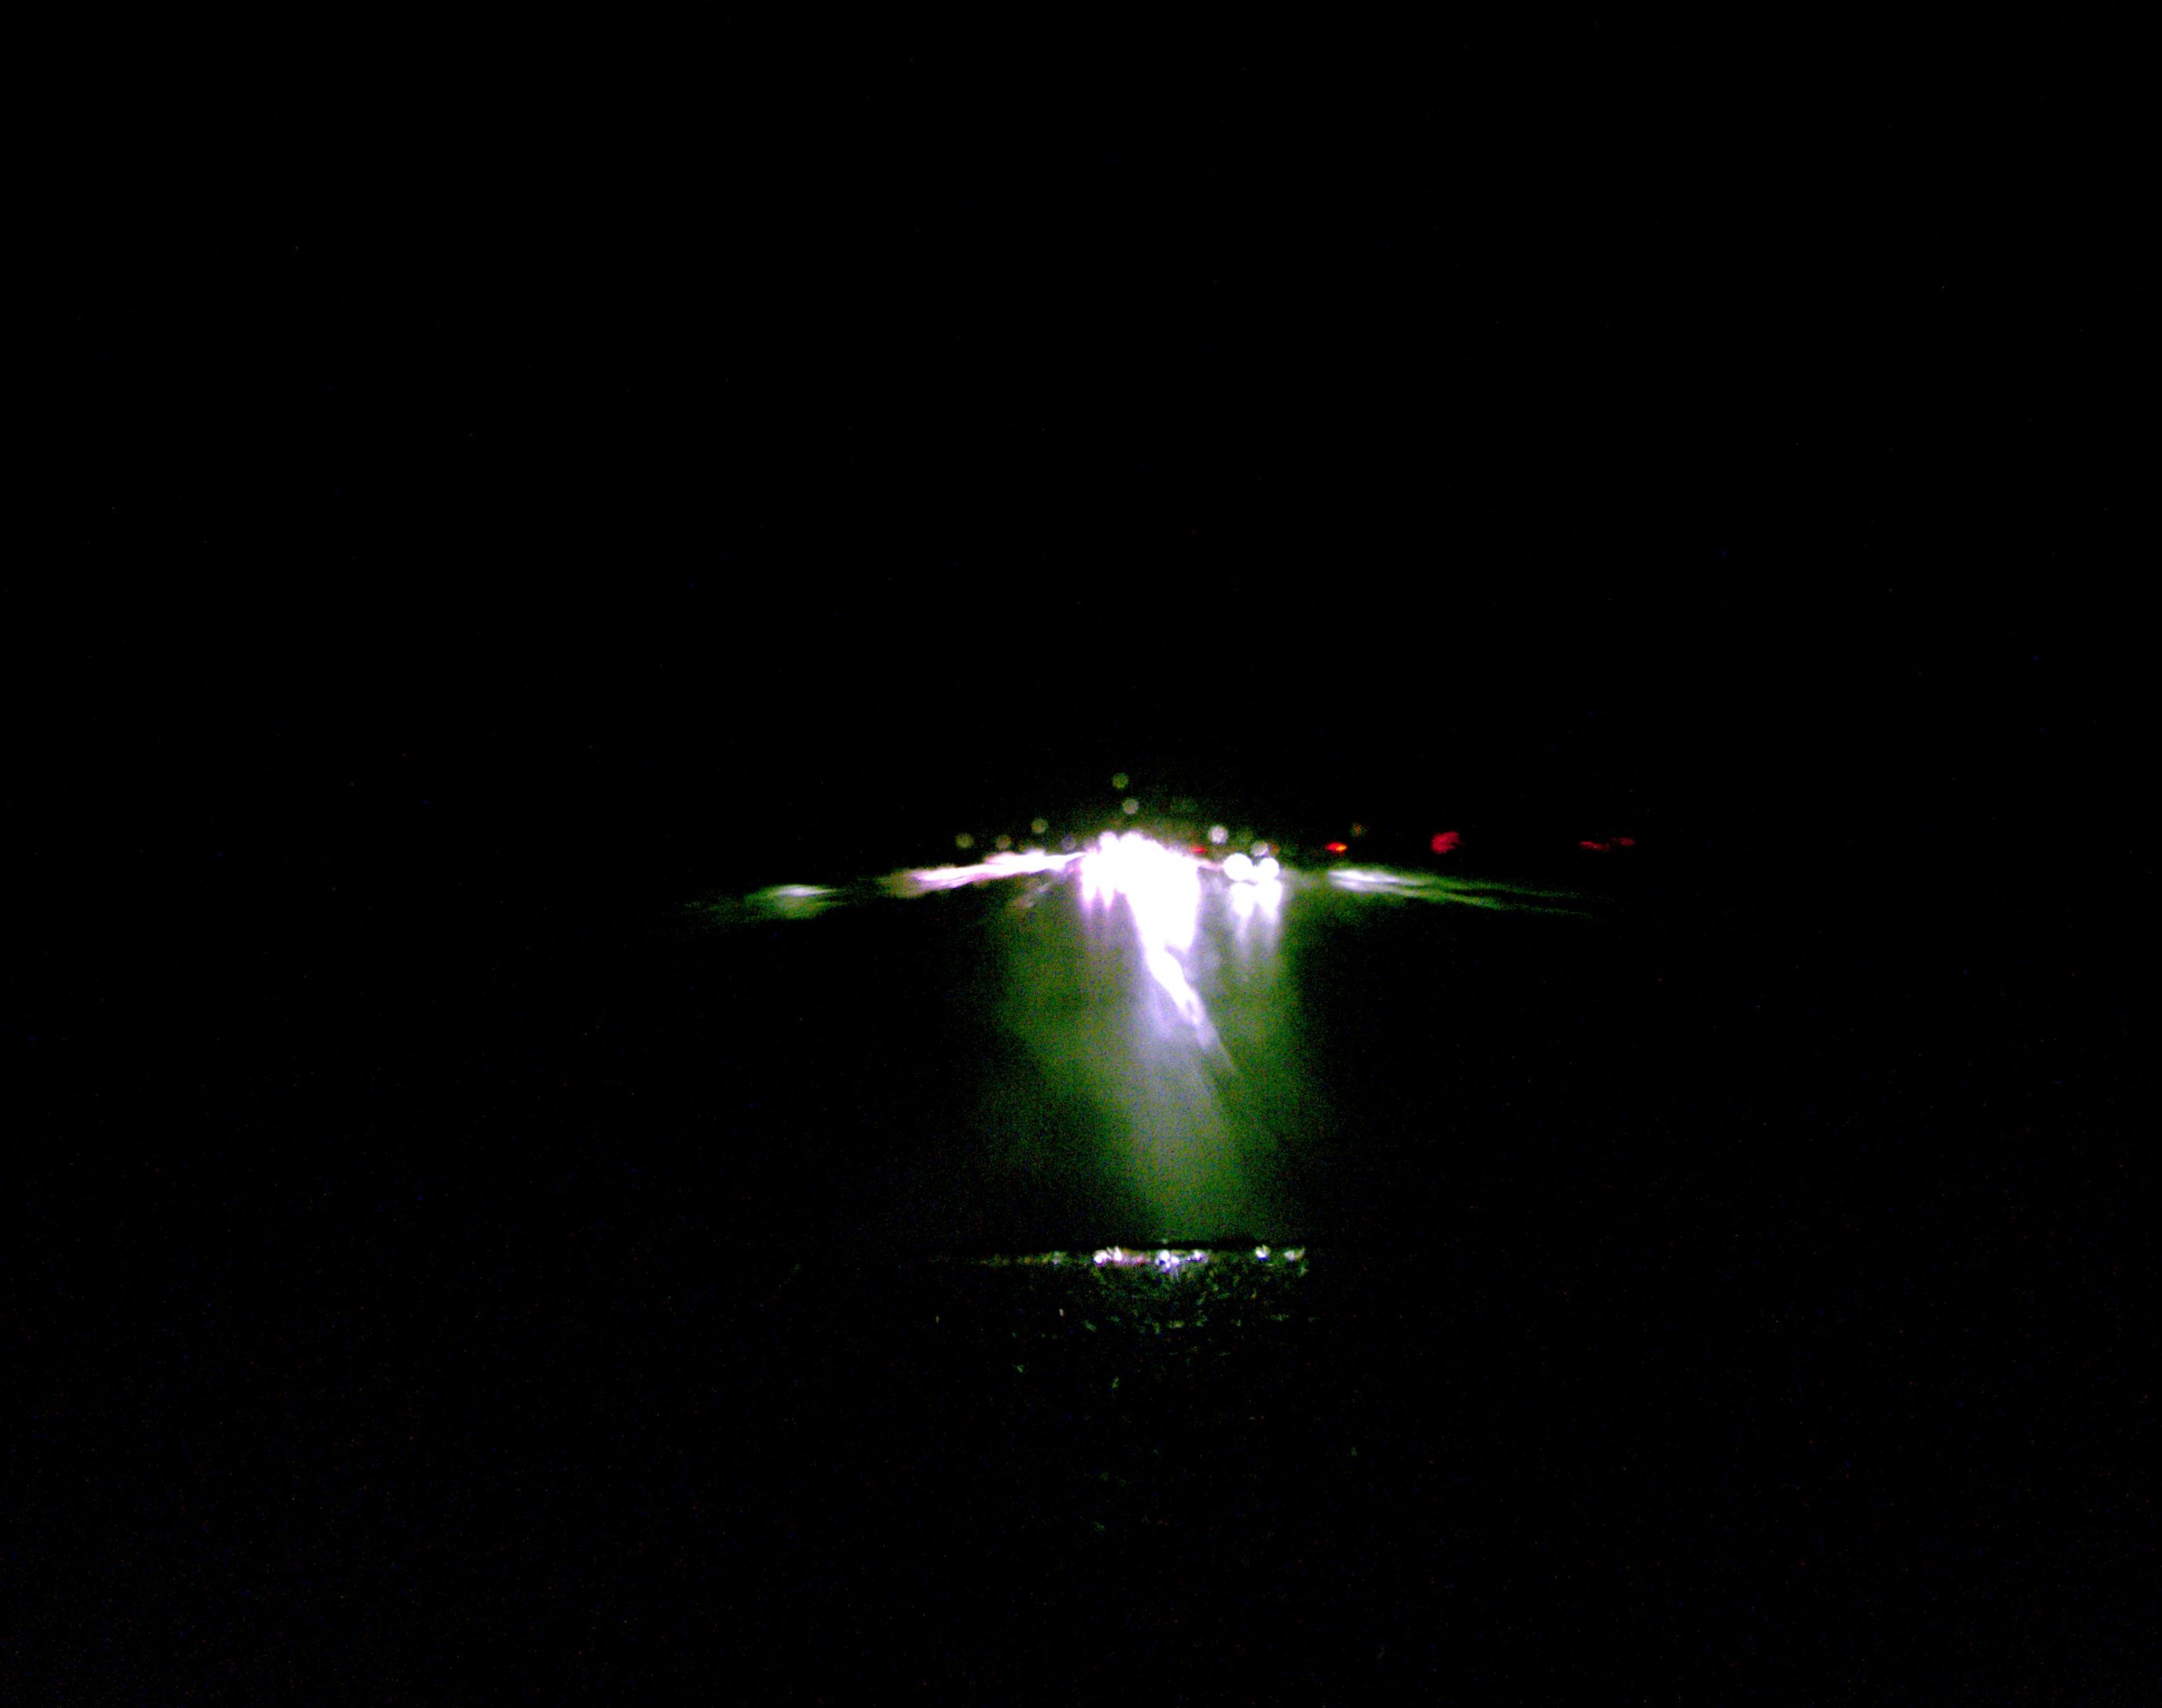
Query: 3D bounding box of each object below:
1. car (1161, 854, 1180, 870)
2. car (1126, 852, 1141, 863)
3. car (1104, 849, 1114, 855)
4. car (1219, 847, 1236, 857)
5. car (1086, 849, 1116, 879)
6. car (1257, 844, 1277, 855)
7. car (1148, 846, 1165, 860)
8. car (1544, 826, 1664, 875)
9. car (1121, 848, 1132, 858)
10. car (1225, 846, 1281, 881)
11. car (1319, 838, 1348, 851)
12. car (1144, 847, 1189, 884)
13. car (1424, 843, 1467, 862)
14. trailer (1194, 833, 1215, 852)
[{"bbox_3d":[10.472,0.926,89.248,1.998,1.667,4.000,-2,1,4],"label":"car"},{"bbox_3d":[6.130,0.408,89.191,1.692,1.149,3.421,-2,1,5],"label":"car"},{"bbox_3d":[6.005,-0.406,163.102,1.998,1.149,4.001,-2,1,5],"label":"car"},{"bbox_3d":[23.527,-0.340,121.890,1.977,1.456,3.999,-2,1,0],"label":"car"},{"bbox_3d":[1.514,0.714,56.479,1.998,2.002,4.001,-2,1,4],"label":"car"},{"bbox_3d":[27.508,-0.651,112.366,1.965,1.456,3.999,-3,1,0],"label":"car"},{"bbox_3d":[10.724,-0.168,108.239,1.998,1.745,4.000,-3,1,1],"label":"car"},{"bbox_3d":[20.135,-0.144,29.467,1.838,1.652,3.999,-3,1,0],"label":"car"},{"bbox_3d":[9.012,-0.174,149.840,1.998,1.745,4.000,-3,1,3],"label":"car"},{"bbox_3d":[8.694,0.452,38.761,2.309,1.600,3.872,-2,1,6],"label":"car"},{"bbox_3d":[30.747,-1.133,92.698,1.791,1.456,5.039,-3,1,0],"label":"car"},{"bbox_3d":[4.201,0.514,37.331,1.997,1.667,4.001,-2,1,7],"label":"car"},{"bbox_3d":[29.763,-0.179,62.143,1.712,1.456,4.000,-2,1,2],"label":"car"},{"bbox_3d":[35.685,-3.345,219.809,4.350,5.111,8.996,-5,0,1],"label":"trailer"}]
